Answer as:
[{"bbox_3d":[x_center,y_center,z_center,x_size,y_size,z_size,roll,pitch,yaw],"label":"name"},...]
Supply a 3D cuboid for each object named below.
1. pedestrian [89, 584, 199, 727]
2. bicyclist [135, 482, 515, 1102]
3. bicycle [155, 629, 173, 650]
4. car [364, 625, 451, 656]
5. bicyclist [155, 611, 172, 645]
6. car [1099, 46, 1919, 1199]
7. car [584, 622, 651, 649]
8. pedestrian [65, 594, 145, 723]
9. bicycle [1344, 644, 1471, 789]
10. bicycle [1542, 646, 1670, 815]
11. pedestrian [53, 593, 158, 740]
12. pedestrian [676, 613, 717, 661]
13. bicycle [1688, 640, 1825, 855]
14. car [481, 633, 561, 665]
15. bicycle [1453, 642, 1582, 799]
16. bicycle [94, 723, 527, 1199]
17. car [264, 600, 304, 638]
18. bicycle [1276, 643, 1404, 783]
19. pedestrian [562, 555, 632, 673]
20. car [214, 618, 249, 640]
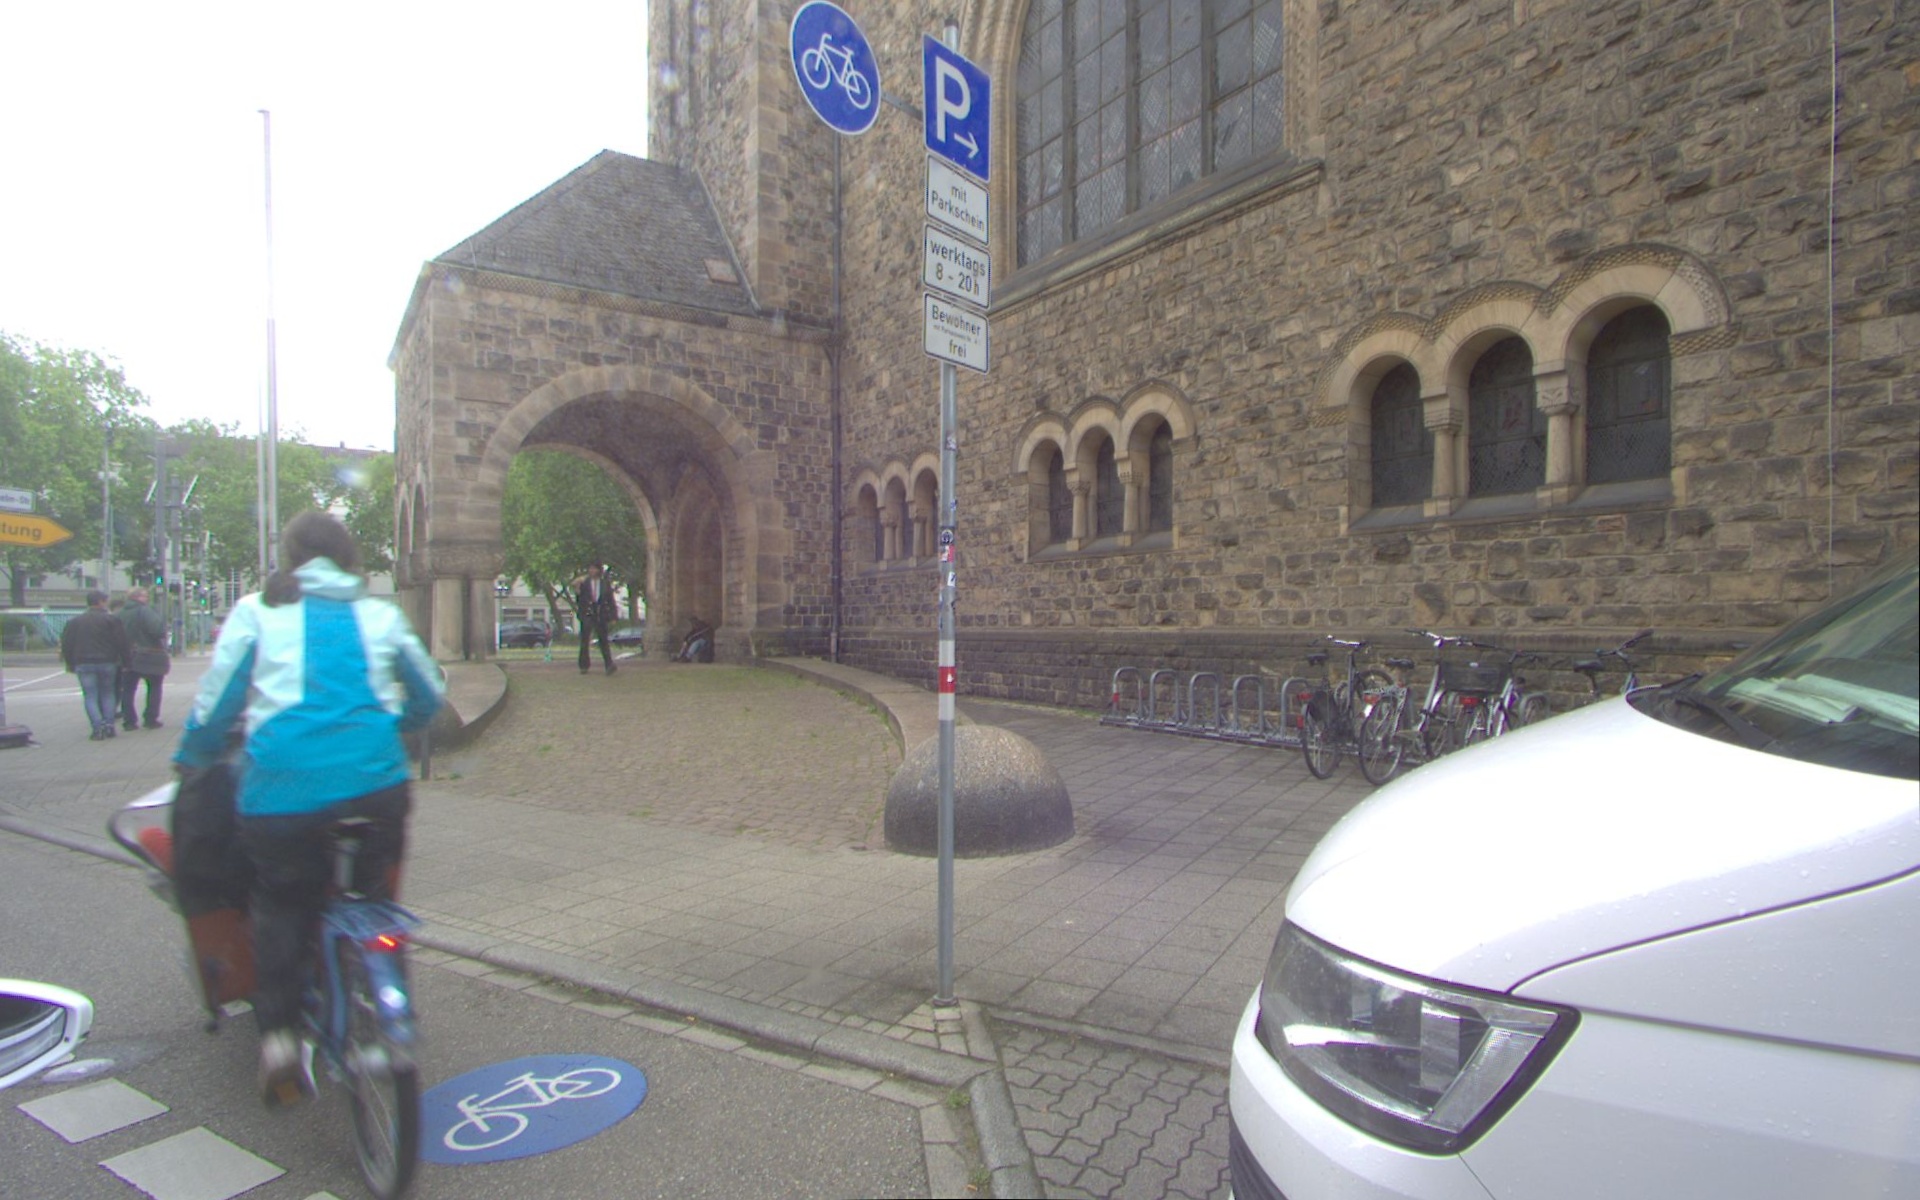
[{"bbox_3d":[-10.665,0.692,13.093,0.955,1.782,0.802,0,2,32],"label":"pedestrian"},{"bbox_3d":[-1.964,0.487,3.080,1.045,1.537,0.683,0,0,38],"label":"bicyclist"},{"bbox_3d":[-39.258,1.914,49.381,0.546,1.008,2.047,0,-1,-35],"label":"bicycle"},{"bbox_3d":[-29.335,2.136,53.197,3.939,1.581,1.676,1,-1,-35],"label":"car"},{"bbox_3d":[-39.210,1.374,49.296,0.608,1.675,0.749,0,-1,-36],"label":"bicyclist"},{"bbox_3d":[2.814,0.470,0.784,5.088,1.945,1.802,-1,-1,31],"label":"car"},{"bbox_3d":[-20.160,2.076,58.887,3.423,1.581,1.676,1,-1,-35],"label":"car"},{"bbox_3d":[-11.757,0.779,13.762,0.957,1.696,0.630,0,2,39],"label":"pedestrian"},{"bbox_3d":[3.637,0.905,8.103,1.366,1.073,0.309,1,-1,-36],"label":"bicycle"},{"bbox_3d":[4.568,0.875,7.054,1.327,1.073,0.309,1,-1,-36],"label":"bicycle"},{"bbox_3d":[-10.409,0.775,12.196,0.955,1.708,0.673,0,2,32],"label":"pedestrian"},{"bbox_3d":[-5.431,0.761,20.634,0.665,0.964,0.611,0,-1,-36],"label":"pedestrian"},{"bbox_3d":[4.803,0.830,6.013,1.327,1.161,0.309,1,-1,-36],"label":"bicycle"},{"bbox_3d":[-24.823,2.742,56.643,3.899,1.733,1.676,1,-1,-35],"label":"car"},{"bbox_3d":[4.207,0.863,7.526,1.366,1.073,0.309,1,-1,-36],"label":"bicycle"},{"bbox_3d":[-2.114,1.027,3.104,2.112,1.112,0.492,-1,-1,39],"label":"bicycle"},{"bbox_3d":[-50.531,1.430,74.955,2.211,2.673,5.417,1,-1,-31],"label":"car"},{"bbox_3d":[3.202,0.909,8.391,1.366,1.073,0.309,1,-1,-36],"label":"bicycle"},{"bbox_3d":[-5.900,0.219,16.254,0.806,1.833,1.012,0,1,-37],"label":"pedestrian"},{"bbox_3d":[-51.572,2.024,70.901,1.647,1.535,3.916,1,-1,-31],"label":"car"}]
